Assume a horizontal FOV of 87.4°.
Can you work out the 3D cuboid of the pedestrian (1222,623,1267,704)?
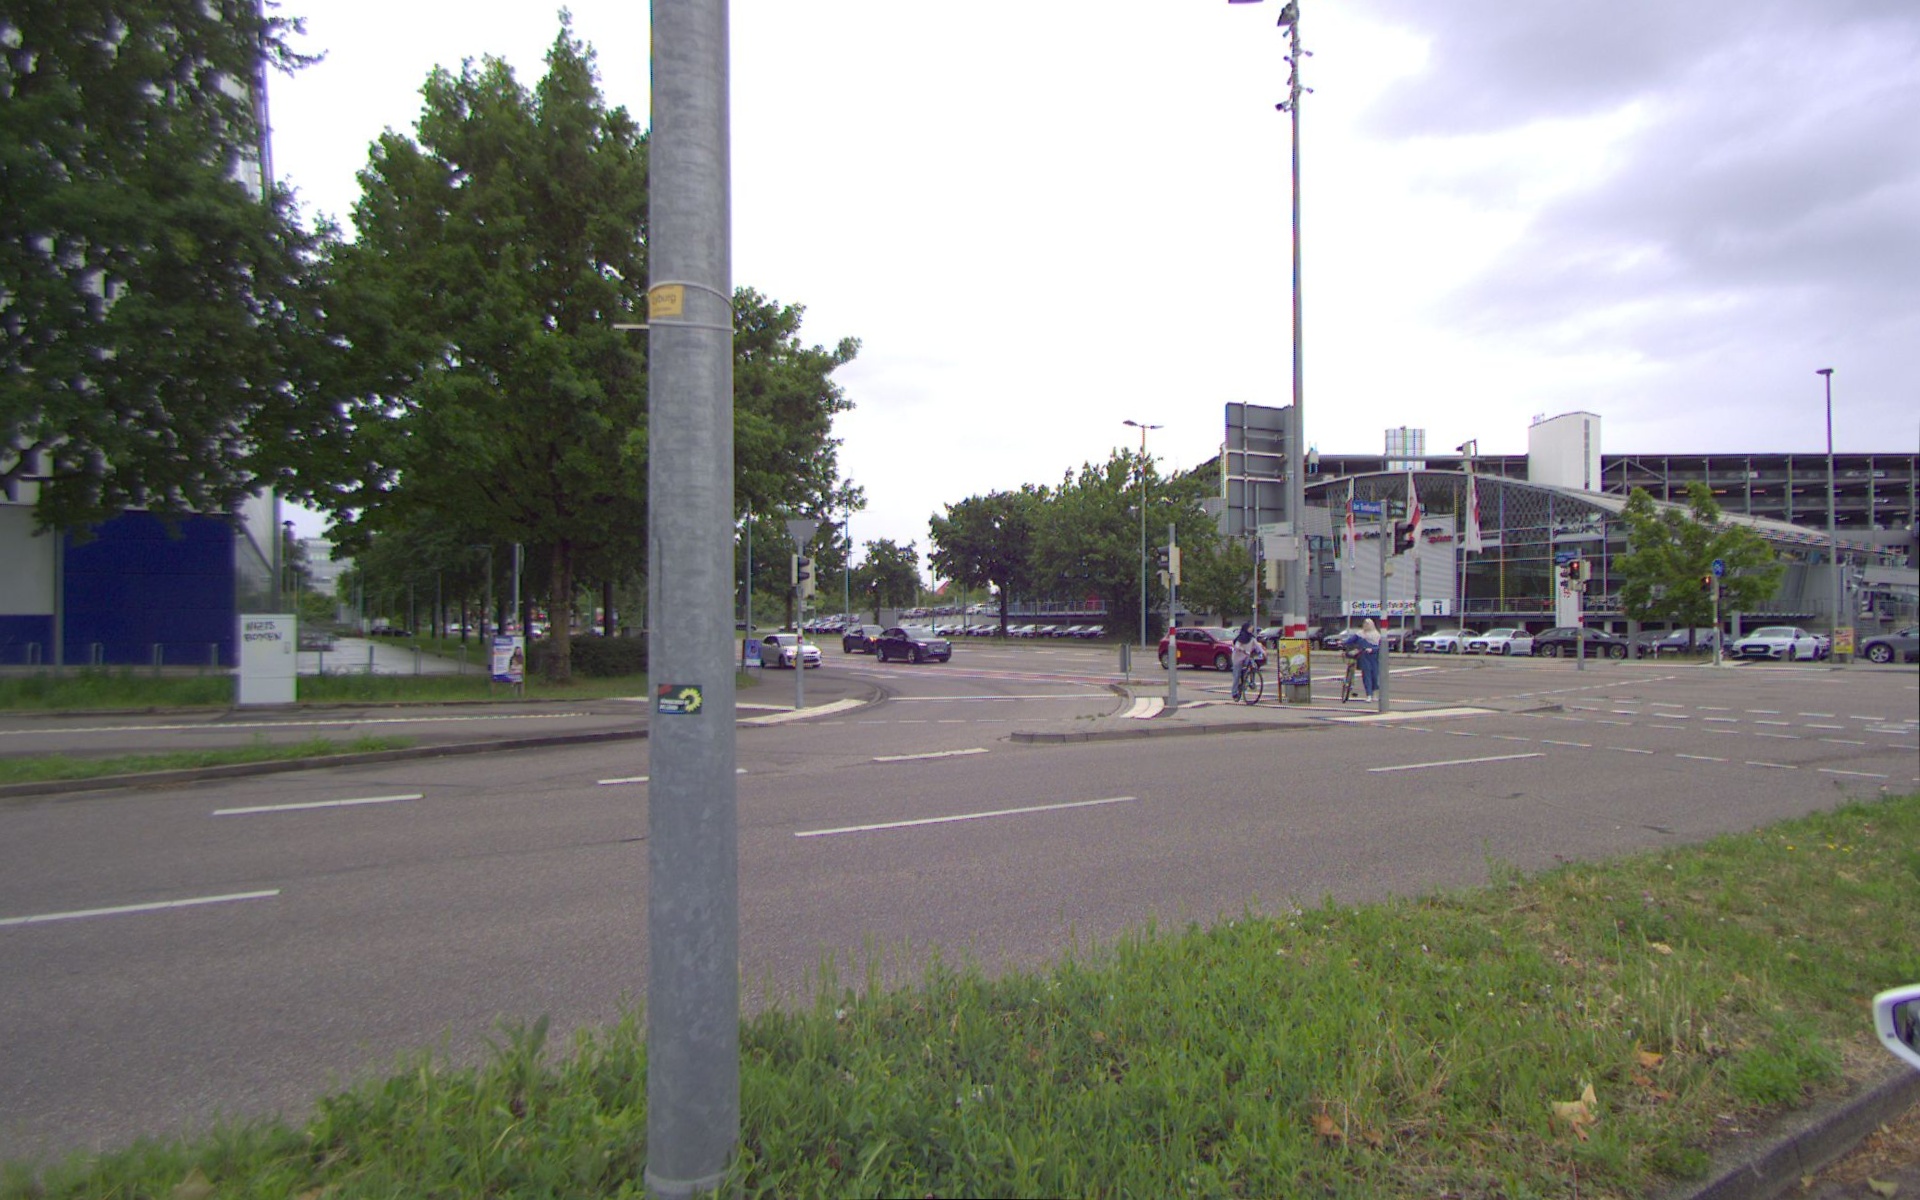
[{"bbox_3d":[5.702,1.269,20.142,0.642,1.569,0.649,2,-2,-9],"label":"pedestrian"}]

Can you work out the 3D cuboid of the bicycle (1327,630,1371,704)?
[{"bbox_3d":[7.832,1.350,20.293,0.585,1.414,1.935,-2,-4,16],"label":"bicycle"}]

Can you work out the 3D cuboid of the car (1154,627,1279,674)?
[{"bbox_3d":[8.768,1.725,34.607,1.724,1.507,4.039,2,-3,-35],"label":"car"}]

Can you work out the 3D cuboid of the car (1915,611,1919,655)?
[{"bbox_3d":[46.291,1.440,45.038,1.981,2.040,4.742,2,-4,-35],"label":"car"}]

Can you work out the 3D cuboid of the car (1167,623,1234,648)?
[{"bbox_3d":[15.439,2.284,64.305,4.175,1.439,1.838,4,-3,-34],"label":"car"}]

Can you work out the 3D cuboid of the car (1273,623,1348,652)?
[{"bbox_3d":[20.090,2.148,57.537,4.335,1.489,1.877,4,-3,-34],"label":"car"}]

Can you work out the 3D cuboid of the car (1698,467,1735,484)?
[{"bbox_3d":[98.520,-16.247,130.855,1.960,1.689,4.001,1,0,2],"label":"car"}]

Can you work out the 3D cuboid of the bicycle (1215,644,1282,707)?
[{"bbox_3d":[5.680,1.463,19.866,0.499,1.181,1.945,2,-3,-9],"label":"bicycle"}]

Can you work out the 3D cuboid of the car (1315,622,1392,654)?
[{"bbox_3d":[21.609,2.087,55.122,4.148,1.505,1.891,4,-3,-34],"label":"car"}]

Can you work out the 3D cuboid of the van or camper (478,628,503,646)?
[{"bbox_3d":[-50.784,4.001,108.642,1.977,1.744,4.359,0,-3,-31],"label":"van or camper"}]

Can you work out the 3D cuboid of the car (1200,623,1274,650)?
[{"bbox_3d":[17.137,2.264,62.066,4.617,1.491,1.830,4,-2,-34],"label":"car"}]

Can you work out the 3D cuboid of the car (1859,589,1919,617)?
[{"bbox_3d":[65.044,0.218,69.460,1.740,1.862,3.965,2,0,-32],"label":"car"}]

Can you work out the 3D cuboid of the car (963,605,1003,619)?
[{"bbox_3d":[2.643,1.351,116.205,4.306,1.516,1.863,2,0,-35],"label":"car"}]

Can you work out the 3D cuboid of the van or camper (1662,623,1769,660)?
[{"bbox_3d":[38.883,2.111,51.781,1.979,1.700,3.963,2,0,-33],"label":"van or camper"}]

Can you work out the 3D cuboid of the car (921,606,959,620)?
[{"bbox_3d":[-2.449,1.601,122.423,4.306,1.516,1.863,2,0,-35],"label":"car"}]

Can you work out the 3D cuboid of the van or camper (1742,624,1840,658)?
[{"bbox_3d":[47.790,2.344,57.819,1.828,1.734,3.963,2,0,-33],"label":"van or camper"}]

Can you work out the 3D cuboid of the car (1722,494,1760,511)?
[{"bbox_3d":[101.459,-12.652,130.512,1.960,1.689,4.001,1,0,2],"label":"car"}]

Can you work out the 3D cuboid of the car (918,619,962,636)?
[{"bbox_3d":[-1.786,2.494,91.176,3.639,1.506,1.696,2,0,-34],"label":"car"}]

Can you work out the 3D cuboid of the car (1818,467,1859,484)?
[{"bbox_3d":[113.690,-16.098,130.022,1.960,1.689,4.001,1,0,2],"label":"car"}]

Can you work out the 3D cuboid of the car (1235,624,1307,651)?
[{"bbox_3d":[18.532,2.213,59.787,4.125,1.409,1.885,4,-3,-34],"label":"car"}]

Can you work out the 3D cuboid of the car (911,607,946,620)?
[{"bbox_3d":[-3.946,1.694,124.563,4.058,1.516,1.713,2,0,-35],"label":"car"}]

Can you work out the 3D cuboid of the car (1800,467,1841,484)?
[{"bbox_3d":[111.516,-16.171,130.235,1.960,1.689,4.001,1,0,2],"label":"car"}]

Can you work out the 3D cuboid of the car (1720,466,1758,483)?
[{"bbox_3d":[101.336,-16.266,130.648,1.960,1.689,4.001,1,0,2],"label":"car"}]

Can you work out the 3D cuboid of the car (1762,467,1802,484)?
[{"bbox_3d":[106.609,-16.131,130.308,1.960,1.689,4.001,1,0,2],"label":"car"}]

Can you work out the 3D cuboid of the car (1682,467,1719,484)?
[{"bbox_3d":[96.302,-16.162,130.683,1.960,1.689,4.001,1,0,2],"label":"car"}]

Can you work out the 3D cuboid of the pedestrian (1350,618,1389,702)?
[{"bbox_3d":[8.240,1.215,20.240,0.628,1.647,0.692,-2,-4,20],"label":"pedestrian"}]

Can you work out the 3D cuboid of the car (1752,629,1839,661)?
[{"bbox_3d":[53.291,2.863,64.147,1.742,1.862,3.960,2,0,-35],"label":"car"}]

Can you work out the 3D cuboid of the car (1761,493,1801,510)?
[{"bbox_3d":[106.454,-12.758,130.278,1.960,1.689,4.001,1,0,2],"label":"car"}]

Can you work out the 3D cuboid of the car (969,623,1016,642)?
[{"bbox_3d":[2.702,2.742,84.425,3.639,1.506,1.696,2,0,-34],"label":"car"}]

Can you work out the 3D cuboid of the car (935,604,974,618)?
[{"bbox_3d":[-0.616,1.360,120.558,4.306,1.516,1.951,2,0,-35],"label":"car"}]

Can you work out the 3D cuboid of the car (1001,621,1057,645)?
[{"bbox_3d":[5.563,2.631,80.742,4.168,1.505,1.940,7,-3,-34],"label":"car"}]

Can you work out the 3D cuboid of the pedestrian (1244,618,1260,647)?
[{"bbox_3d":[18.923,2.111,65.024,0.666,1.895,0.713,3,-2,-31],"label":"pedestrian"}]

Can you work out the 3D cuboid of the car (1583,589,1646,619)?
[{"bbox_3d":[39.384,0.272,60.433,3.960,1.684,1.807,2,0,-35],"label":"car"}]

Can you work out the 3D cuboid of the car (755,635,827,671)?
[{"bbox_3d":[-7.442,2.290,43.996,1.768,1.471,3.899,1,-3,-33],"label":"car"}]

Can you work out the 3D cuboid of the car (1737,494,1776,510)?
[{"bbox_3d":[103.667,-12.721,130.769,1.960,1.689,4.001,1,0,2],"label":"car"}]

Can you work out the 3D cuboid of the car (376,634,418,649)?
[{"bbox_3d":[-63.510,4.656,113.299,3.962,1.639,1.785,2,0,-37],"label":"car"}]

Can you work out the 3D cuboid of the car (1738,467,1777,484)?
[{"bbox_3d":[103.545,-16.201,130.462,1.960,1.689,4.001,1,0,2],"label":"car"}]

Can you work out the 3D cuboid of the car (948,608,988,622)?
[{"bbox_3d":[0.989,1.819,118.459,4.306,1.516,2.049,2,0,-35],"label":"car"}]

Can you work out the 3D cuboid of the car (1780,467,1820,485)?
[{"bbox_3d":[108.882,-16.063,130.301,1.960,1.689,4.001,1,0,2],"label":"car"}]
